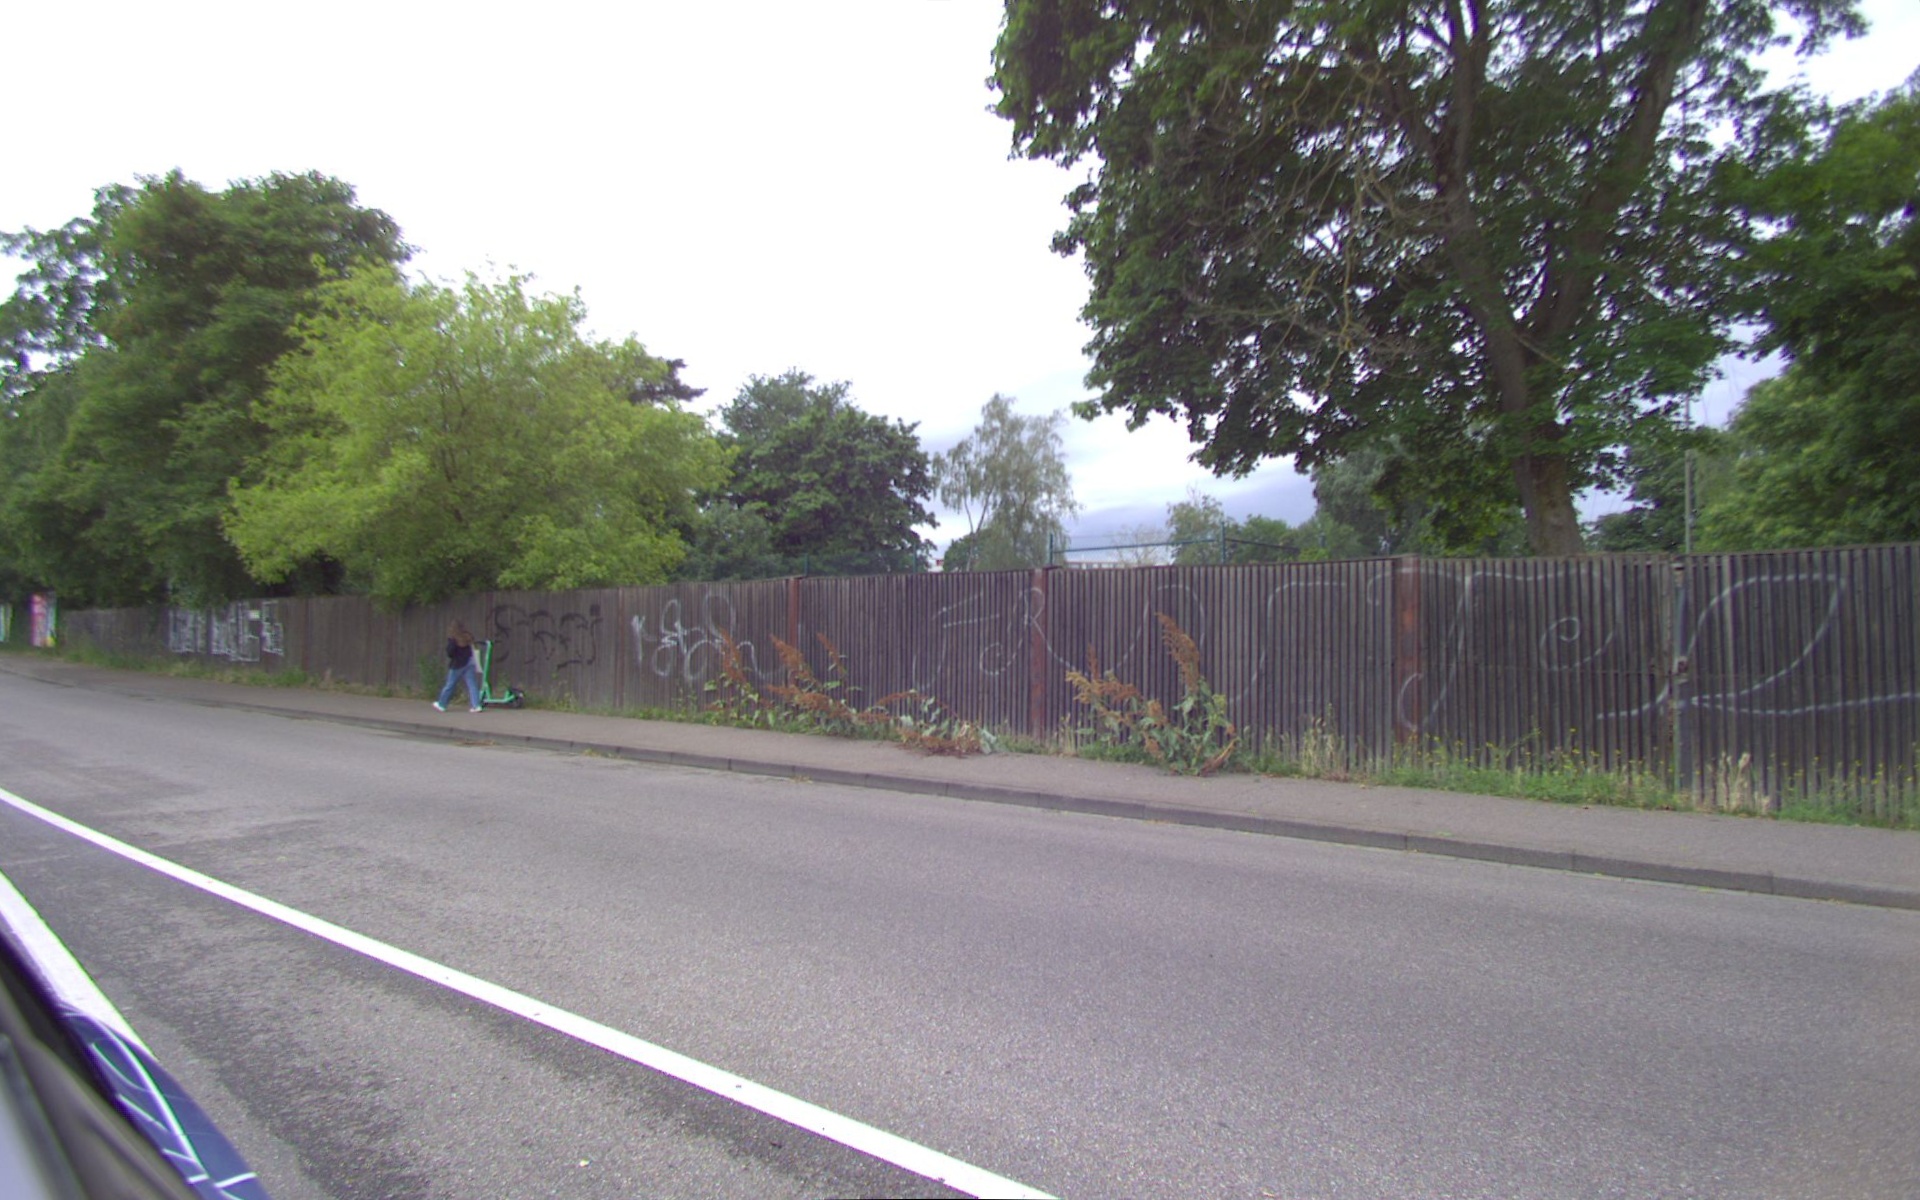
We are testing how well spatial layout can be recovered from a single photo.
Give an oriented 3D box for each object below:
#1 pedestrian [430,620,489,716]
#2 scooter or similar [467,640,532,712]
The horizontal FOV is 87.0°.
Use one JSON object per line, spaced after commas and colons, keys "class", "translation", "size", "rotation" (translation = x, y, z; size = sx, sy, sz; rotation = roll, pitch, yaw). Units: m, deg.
{"class": "pedestrian", "translation": [-8.256, 1.104, 16.695], "size": [0.723, 1.541, 0.606], "rotation": [-2, -2, 37]}
{"class": "scooter or similar", "translation": [-7.817, 1.269, 17.174], "size": [1.301, 1.179, 0.419], "rotation": [-1, -2, 36]}
